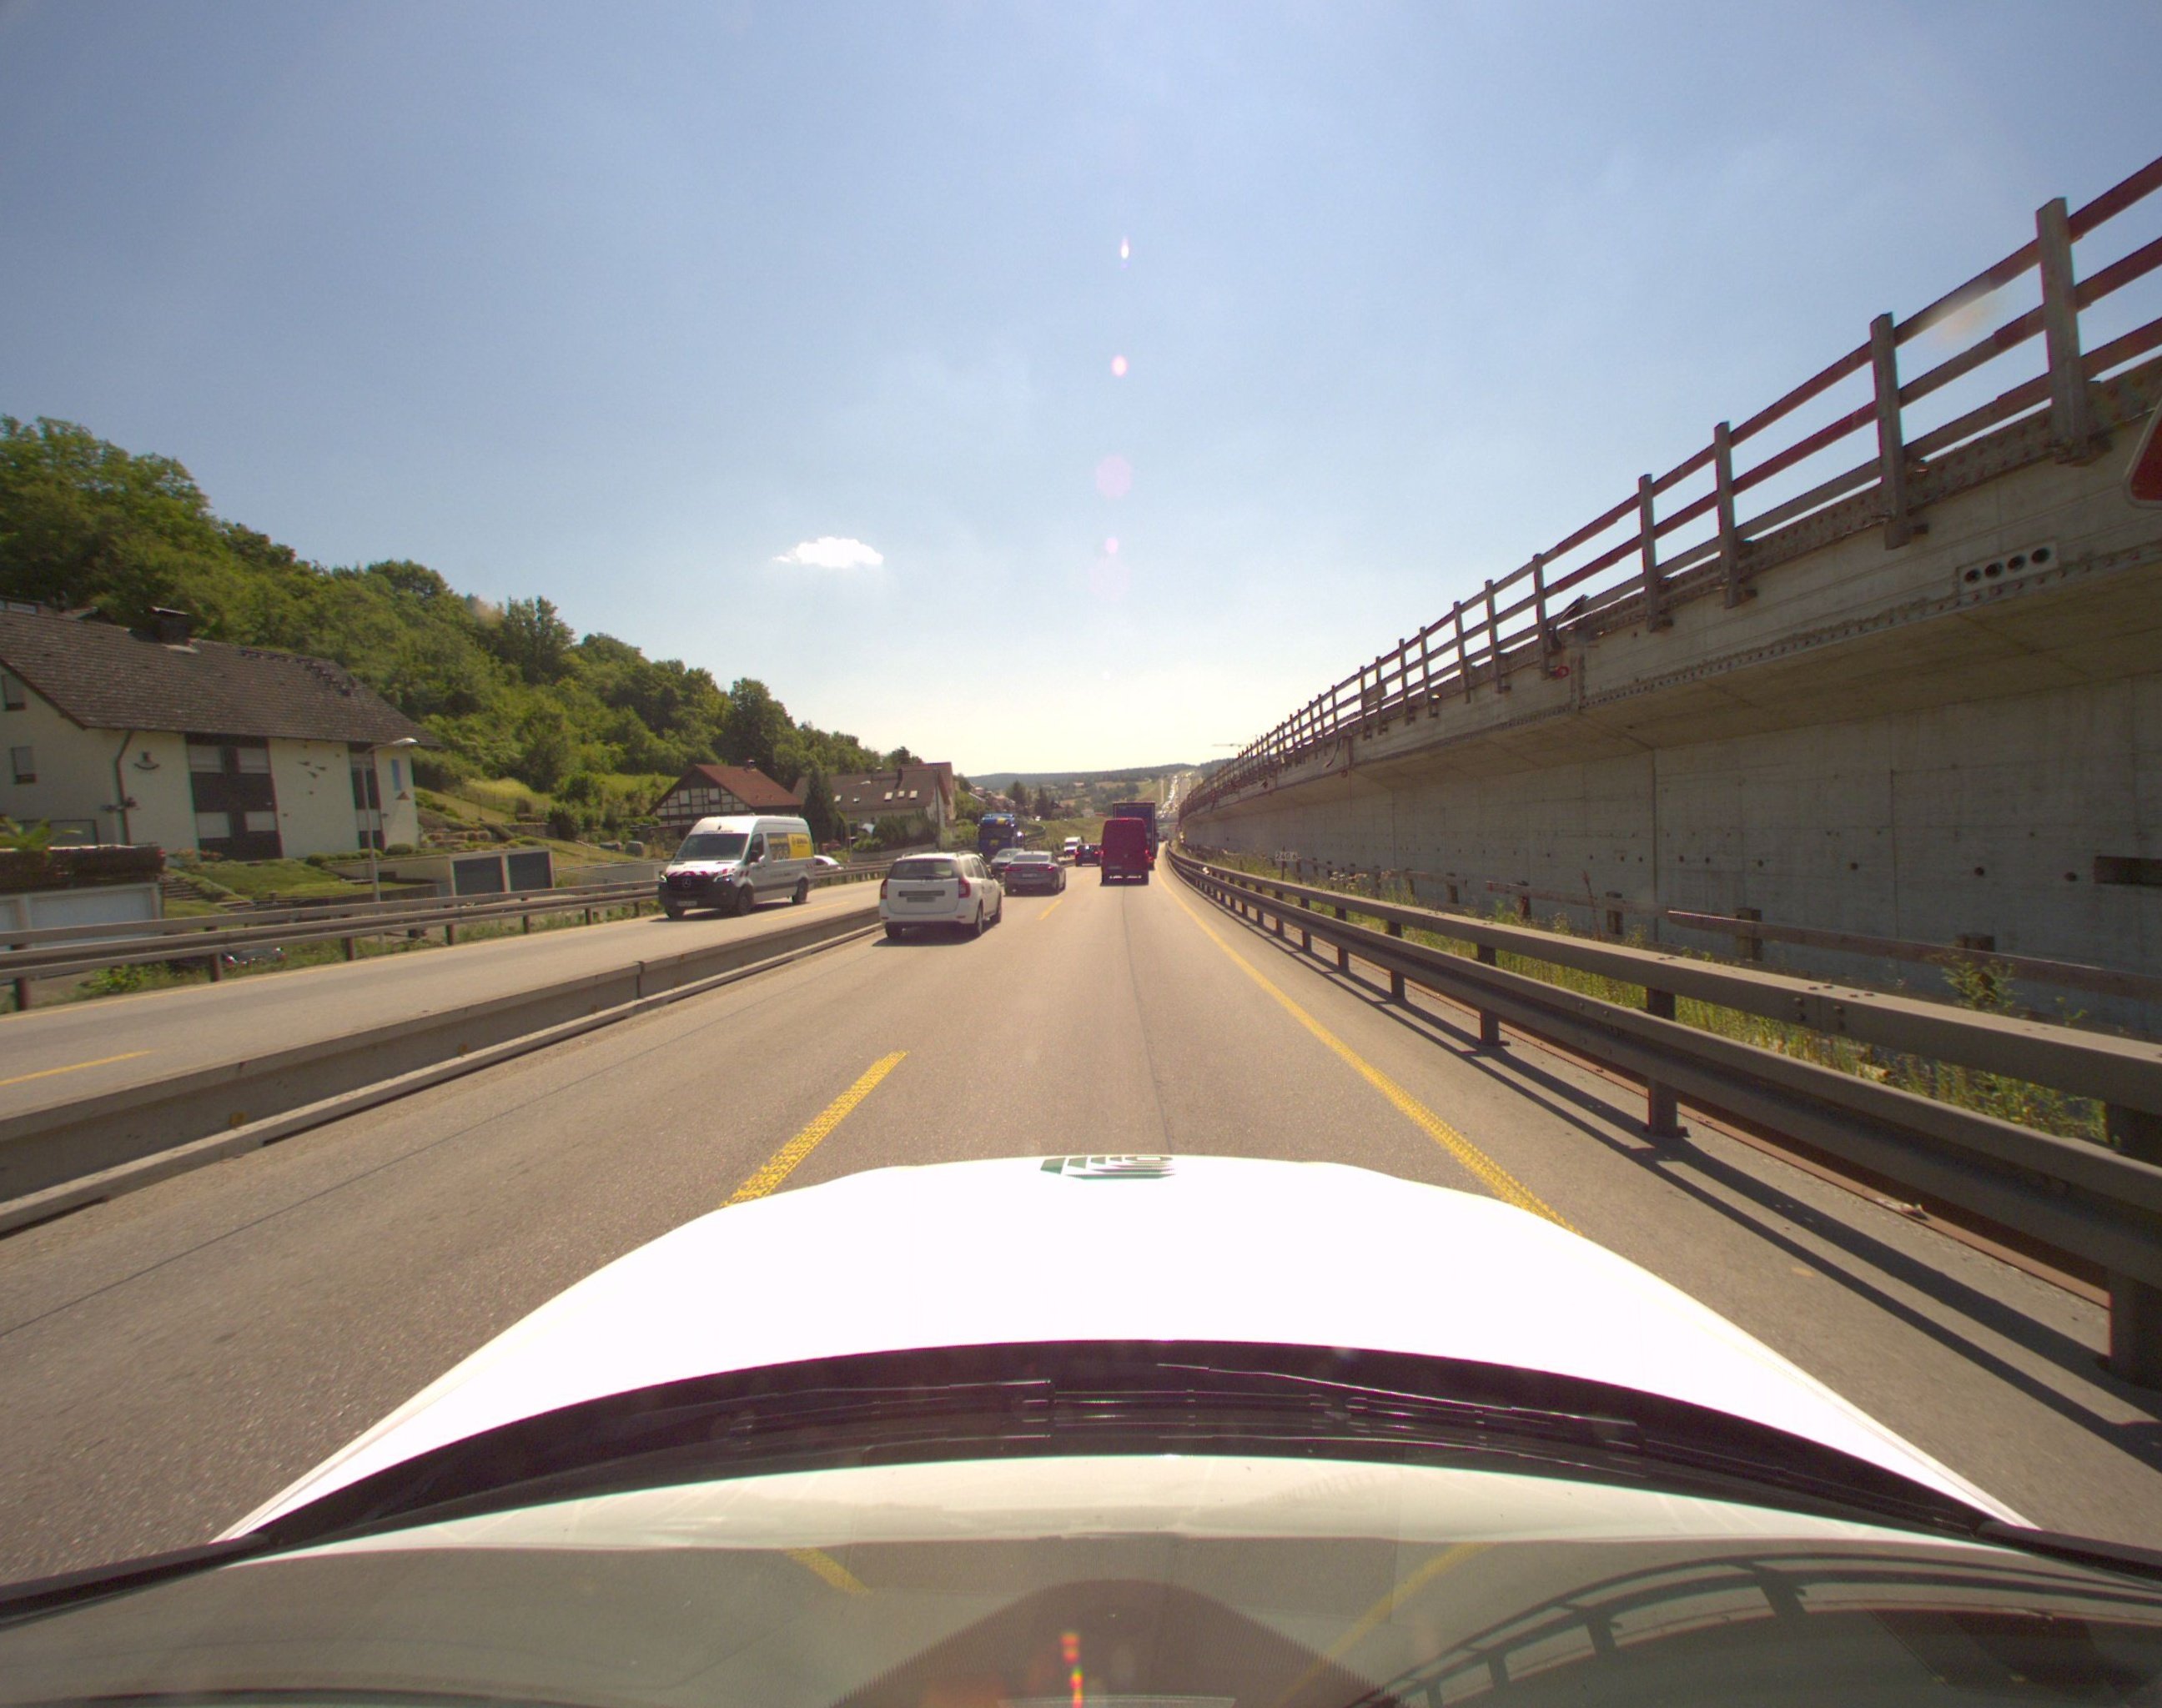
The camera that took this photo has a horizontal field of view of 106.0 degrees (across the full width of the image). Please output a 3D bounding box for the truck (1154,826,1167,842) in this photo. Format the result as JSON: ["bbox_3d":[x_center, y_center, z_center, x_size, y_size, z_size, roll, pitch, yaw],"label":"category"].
[{"bbox_3d":[24.026,-5.898,245.762,3.449,4.381,8.572,-2,-1,7],"label":"truck"}]

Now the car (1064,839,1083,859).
[{"bbox_3d":[-0.959,-0.666,110.955,1.984,2.507,5.523,-2,-1,5],"label":"car"}]

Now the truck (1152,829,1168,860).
[{"bbox_3d":[11.297,-1.302,116.298,1.983,4.381,4.007,-2,-1,7],"label":"truck"}]

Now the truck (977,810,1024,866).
[{"bbox_3d":[-5.957,-1.131,60.926,2.497,3.965,5.181,-1,-1,4],"label":"truck"}]

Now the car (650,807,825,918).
[{"bbox_3d":[-9.192,0.180,22.522,1.997,2.603,5.983,-2,0,3],"label":"car"}]

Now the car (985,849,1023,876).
[{"bbox_3d":[-4.349,0.448,46.511,1.538,1.464,4.631,-2,0,2],"label":"car"}]

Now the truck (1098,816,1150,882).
[{"bbox_3d":[1.817,-0.174,34.382,1.985,2.578,4.002,-2,-1,3],"label":"truck"}]

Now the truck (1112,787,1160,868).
[{"bbox_3d":[3.619,-1.536,54.164,2.774,4.816,9.693,-2,-1,4],"label":"truck"}]

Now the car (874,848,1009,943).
[{"bbox_3d":[-2.538,0.719,15.830,1.645,1.483,4.268,-4,-1,2],"label":"car"}]

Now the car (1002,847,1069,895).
[{"bbox_3d":[-1.472,0.564,27.881,1.786,1.485,4.054,0,-1,4],"label":"car"}]

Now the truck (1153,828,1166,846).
[{"bbox_3d":[21.506,-4.624,223.052,3.053,4.381,8.572,-2,-1,7],"label":"truck"}]

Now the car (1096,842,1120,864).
[{"bbox_3d":[2.448,-0.113,72.838,1.720,1.838,4.008,-2,0,7],"label":"car"}]

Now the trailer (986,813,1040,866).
[{"bbox_3d":[-5.448,-1.060,67.476,2.497,3.965,11.412,-2,-1,5],"label":"trailer"}]

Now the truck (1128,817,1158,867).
[{"bbox_3d":[6.384,-1.085,84.071,2.774,4.816,9.693,-2,-1,4],"label":"truck"}]

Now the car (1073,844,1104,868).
[{"bbox_3d":[0.561,0.152,59.063,1.801,1.608,3.725,-2,-1,7],"label":"car"}]
